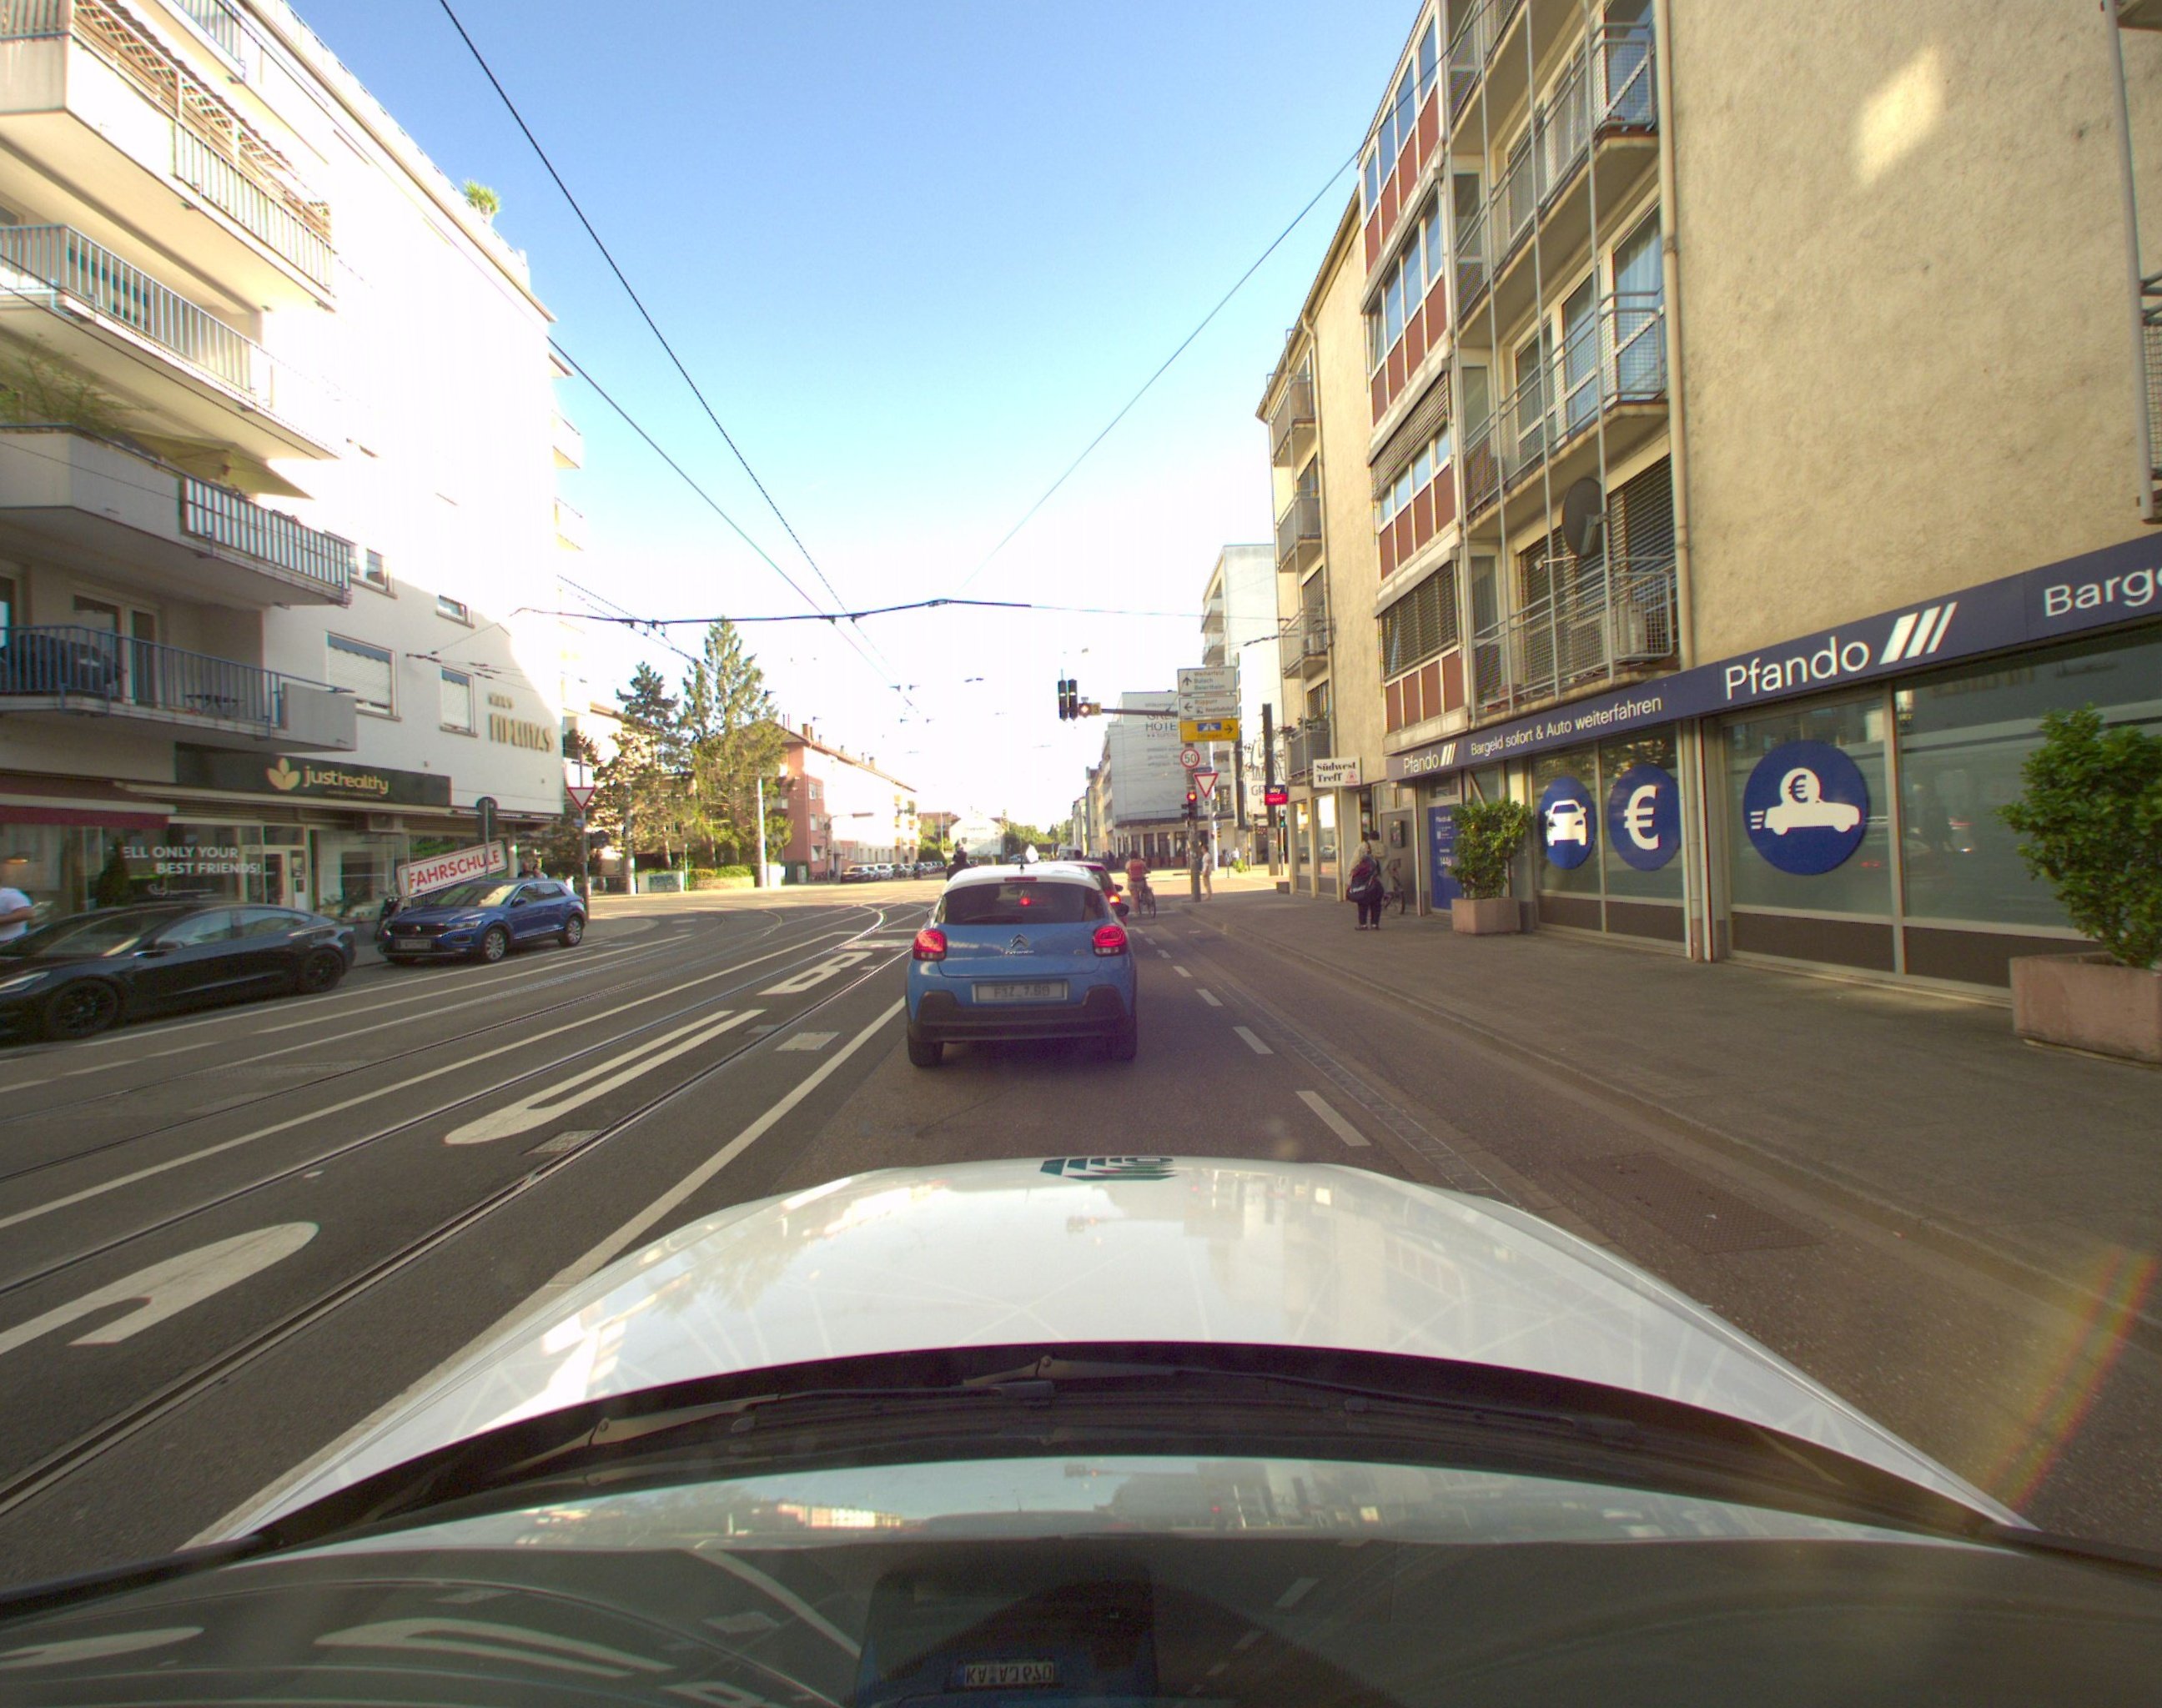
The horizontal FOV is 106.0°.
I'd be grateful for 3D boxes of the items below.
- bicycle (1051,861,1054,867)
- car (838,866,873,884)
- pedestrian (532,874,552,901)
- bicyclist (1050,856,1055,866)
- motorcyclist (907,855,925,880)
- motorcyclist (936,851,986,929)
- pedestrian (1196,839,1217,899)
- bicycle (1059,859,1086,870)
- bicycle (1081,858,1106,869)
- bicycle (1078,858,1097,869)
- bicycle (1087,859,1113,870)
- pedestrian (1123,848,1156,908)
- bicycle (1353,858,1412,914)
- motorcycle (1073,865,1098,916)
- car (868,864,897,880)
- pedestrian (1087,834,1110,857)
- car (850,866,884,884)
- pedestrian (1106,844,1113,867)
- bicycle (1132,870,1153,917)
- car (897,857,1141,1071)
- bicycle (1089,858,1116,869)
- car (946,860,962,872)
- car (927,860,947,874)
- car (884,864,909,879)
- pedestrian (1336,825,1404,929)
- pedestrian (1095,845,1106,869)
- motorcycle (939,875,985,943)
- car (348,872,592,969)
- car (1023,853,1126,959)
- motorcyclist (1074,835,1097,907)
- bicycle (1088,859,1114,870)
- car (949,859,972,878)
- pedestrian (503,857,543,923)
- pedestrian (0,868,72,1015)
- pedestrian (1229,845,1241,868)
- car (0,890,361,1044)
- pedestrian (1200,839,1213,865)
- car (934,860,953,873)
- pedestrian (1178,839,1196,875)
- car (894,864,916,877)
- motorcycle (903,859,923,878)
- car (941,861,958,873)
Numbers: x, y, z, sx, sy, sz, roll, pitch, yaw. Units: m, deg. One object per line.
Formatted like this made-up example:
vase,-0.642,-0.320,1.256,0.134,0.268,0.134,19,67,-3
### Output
bicycle,-3.915,1.388,113.184,0.347,0.903,1.859,0,-1,0
car,-19.163,1.751,69.411,1.787,1.421,3.996,0,-1,1
pedestrian,-36.242,2.254,54.767,0.900,1.791,0.805,0,-1,-8
bicyclist,-3.934,0.974,113.020,0.558,1.477,0.748,0,-1,3
motorcyclist,-13.754,1.100,67.786,1.182,2.013,1.275,-2,0,-1
motorcyclist,-2.336,0.693,15.901,0.857,1.505,0.598,0,-1,1
pedestrian,3.752,0.440,24.328,0.515,1.783,0.595,0,-1,0
bicycle,-0.712,0.882,66.425,2.130,0.901,0.366,0,-1,-7
bicycle,1.053,0.825,68.472,2.130,0.901,0.366,0,-1,-7
bicycle,0.552,0.825,69.514,1.765,0.901,0.369,-1,-1,36
bicycle,1.592,0.869,67.547,2.130,0.901,0.366,0,-1,-7
pedestrian,1.457,0.591,20.356,0.774,1.460,0.682,0,-1,1
bicycle,5.689,0.576,15.460,0.540,0.998,1.706,0,-1,2
motorcycle,0.117,0.835,19.556,0.524,1.139,2.290,0,-1,2
car,-19.439,1.748,79.983,1.781,1.511,4.150,0,-1,1
pedestrian,1.632,-0.722,73.688,1.986,2.014,4.001,0,-1,2
car,-19.449,1.876,74.084,1.808,1.498,4.302,0,-1,2
pedestrian,2.468,0.150,70.445,0.575,2.014,0.625,0,-1,-1
bicycle,1.540,0.976,20.647,0.426,1.123,1.999,0,-1,2
car,-0.368,0.761,7.300,1.648,1.444,3.524,0,-1,2
bicycle,1.753,0.775,66.041,2.130,0.901,0.366,0,-1,-7
car,-19.117,1.777,122.371,1.841,1.687,3.872,0,-1,-1
car,-18.896,1.682,106.763,1.978,1.687,3.998,0,-1,-1
car,-19.587,1.816,86.669,1.781,1.498,3.998,0,-1,-1
pedestrian,4.581,0.359,12.944,0.822,1.593,0.751,0,-1,1
pedestrian,1.669,0.230,69.312,0.635,2.014,0.717,0,-1,-34
motorcycle,-2.320,1.046,16.070,0.535,1.219,1.982,0,-1,2
car,-11.922,1.212,16.313,1.864,1.531,4.068,-2,0,-2
car,-0.047,0.771,13.243,1.419,1.467,2.925,-2,-1,2
motorcyclist,0.124,0.402,19.747,0.524,1.716,0.717,0,-1,1
bicycle,1.636,0.871,67.143,2.130,0.901,0.366,0,-1,-7
car,-11.341,1.346,76.838,1.770,1.666,3.854,0,-1,-2
pedestrian,-17.335,1.099,25.330,0.767,2.014,0.694,0,-1,-4
pedestrian,-13.704,1.088,10.367,0.689,1.803,0.812,0,-1,1
pedestrian,10.740,0.149,56.818,0.730,1.601,0.751,-1,-1,15
car,-12.086,1.291,10.440,1.816,1.387,4.425,-2,0,-2
pedestrian,9.761,-0.130,63.324,0.750,2.014,0.716,-1,-1,33
car,-18.912,1.692,112.143,1.877,1.687,3.998,0,-1,-1
pedestrian,6.096,0.175,46.952,0.922,2.014,0.760,0,-1,1
car,-19.998,1.855,92.571,1.728,1.498,3.996,0,-1,-2
motorcycle,-13.836,1.158,67.274,0.921,1.486,3.724,0,-1,-1
car,-18.932,1.910,117.292,1.828,1.687,3.998,0,-1,-1
